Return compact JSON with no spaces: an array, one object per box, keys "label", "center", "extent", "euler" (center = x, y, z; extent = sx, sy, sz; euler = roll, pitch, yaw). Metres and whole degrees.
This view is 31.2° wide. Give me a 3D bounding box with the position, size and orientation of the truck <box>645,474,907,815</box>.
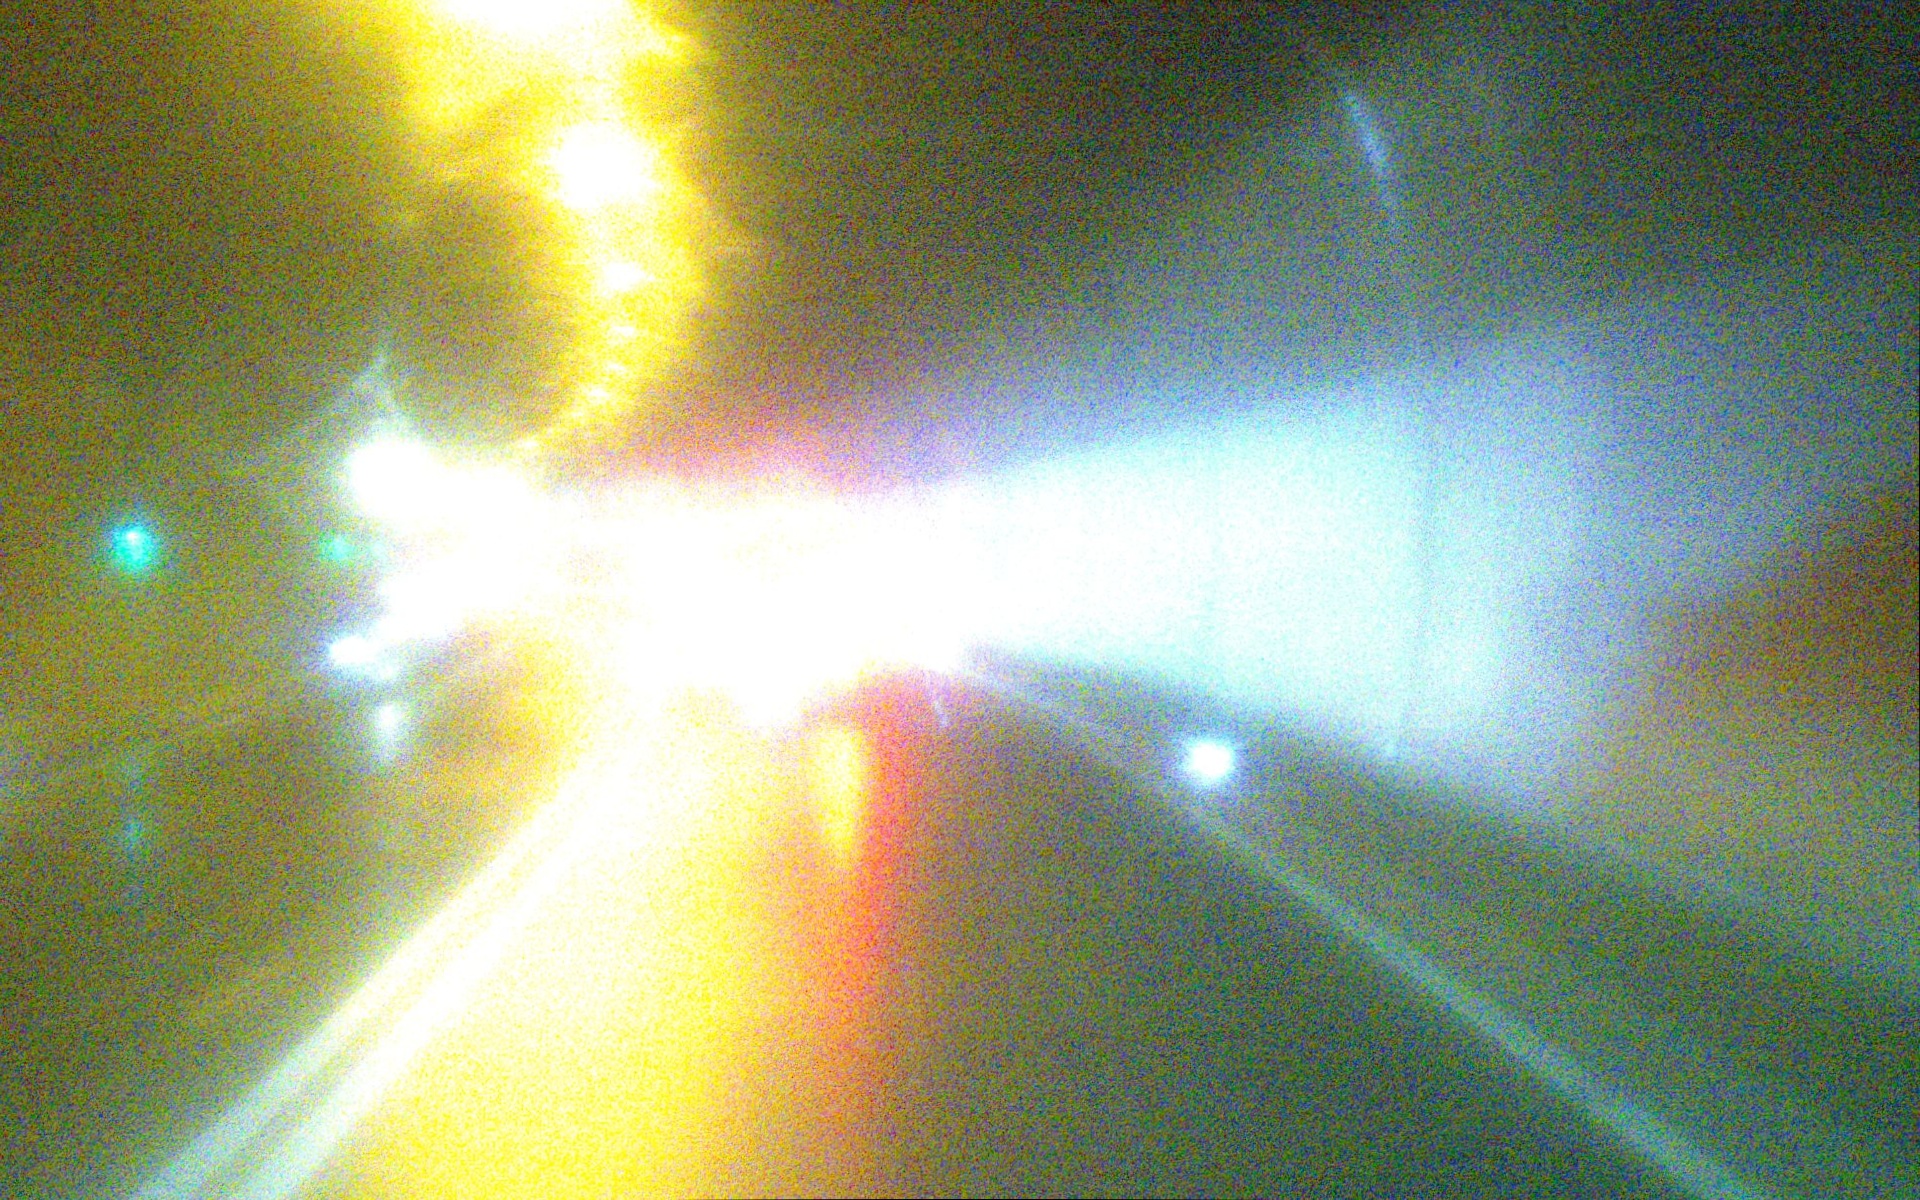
[{"label":"truck","center":[-1.824,0.350,34.471],"extent":[2.262,3.000,7.416],"euler":[2,1,-3]}]
